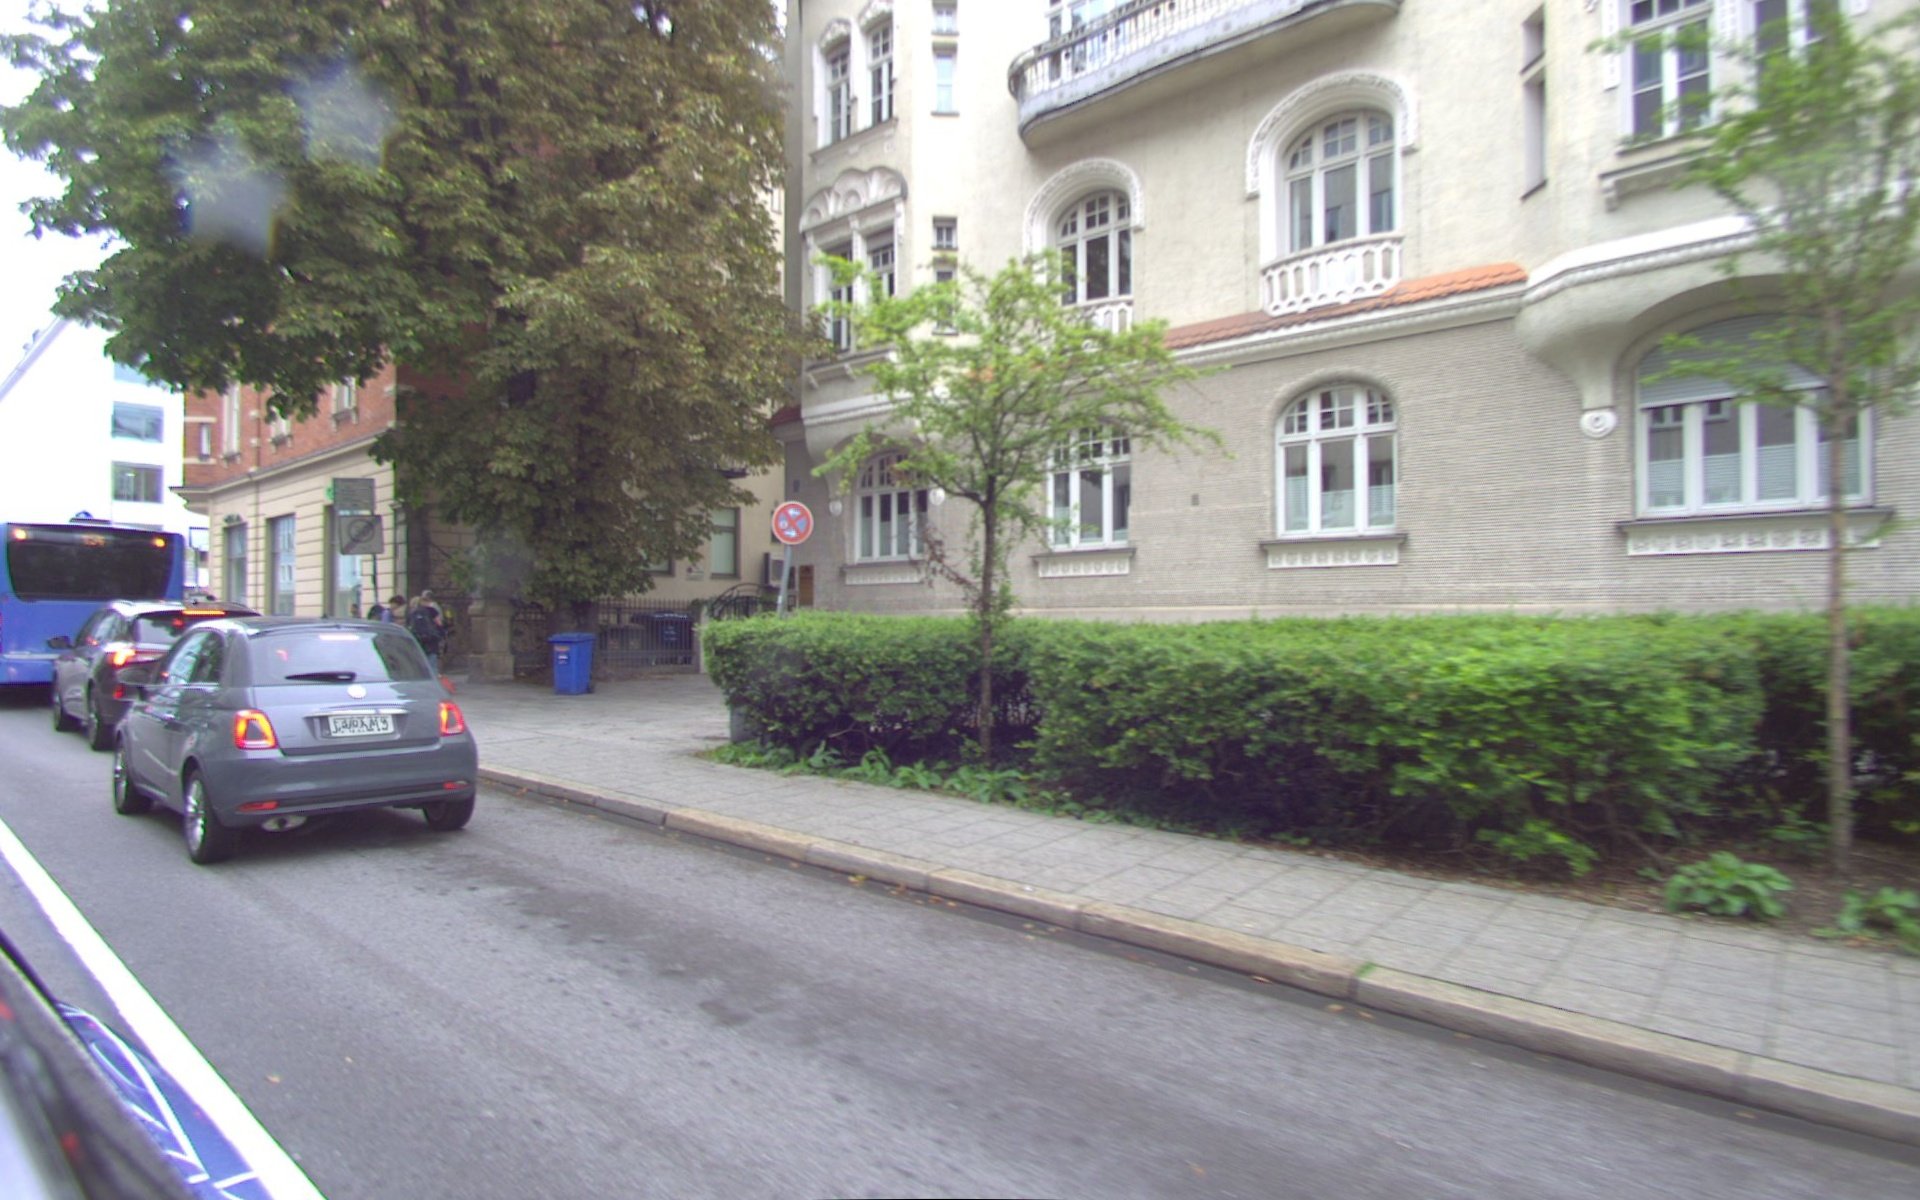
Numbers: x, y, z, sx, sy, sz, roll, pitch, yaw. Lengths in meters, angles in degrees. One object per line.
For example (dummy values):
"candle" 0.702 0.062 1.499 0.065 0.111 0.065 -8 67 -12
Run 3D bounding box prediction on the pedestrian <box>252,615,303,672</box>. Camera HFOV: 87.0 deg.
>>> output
"pedestrian" -16.643 1.049 24.674 0.753 1.351 0.820 -1 -2 39

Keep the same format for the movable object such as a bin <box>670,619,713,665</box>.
"movable object such as a bin" -7.256 1.128 27.369 0.844 1.221 0.814 0 -1 -45

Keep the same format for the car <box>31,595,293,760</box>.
"car" -9.784 0.828 12.289 4.272 1.657 1.749 -1 -2 42

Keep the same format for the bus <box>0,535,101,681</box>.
"bus" -23.632 0.231 24.954 9.106 3.124 2.552 -1 -2 42

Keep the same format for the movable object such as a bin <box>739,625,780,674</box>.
"movable object such as a bin" -4.666 1.131 23.548 0.614 1.094 0.814 0 -1 -44

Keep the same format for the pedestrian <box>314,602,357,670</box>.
"pedestrian" -14.546 0.824 23.561 0.753 1.550 0.618 -1 -2 39

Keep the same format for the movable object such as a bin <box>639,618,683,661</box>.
"movable object such as a bin" -7.895 1.030 26.731 0.844 1.100 0.814 0 -1 -45

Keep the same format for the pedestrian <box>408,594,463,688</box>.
"pedestrian" -9.992 0.770 19.306 0.773 1.758 0.878 1 -1 -17

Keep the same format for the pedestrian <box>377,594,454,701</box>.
"pedestrian" -9.287 0.794 17.252 0.846 1.758 0.898 -1 -2 41

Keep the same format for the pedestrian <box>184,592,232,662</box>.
"pedestrian" -22.284 0.789 30.001 0.769 2.029 0.831 0 -1 -1

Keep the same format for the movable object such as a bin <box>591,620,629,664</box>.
"movable object such as a bin" -8.872 1.046 25.641 0.614 1.094 0.814 0 -1 -44

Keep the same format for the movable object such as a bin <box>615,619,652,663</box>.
"movable object such as a bin" -8.437 1.055 26.113 0.614 1.094 0.814 0 -1 -44

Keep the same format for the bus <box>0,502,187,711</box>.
"bus" -17.012 0.179 18.871 8.921 3.124 2.552 -1 -2 42

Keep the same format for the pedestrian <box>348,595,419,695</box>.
"pedestrian" -10.533 0.800 18.483 0.910 1.758 0.864 -1 -2 41

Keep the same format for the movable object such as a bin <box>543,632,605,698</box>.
"movable object such as a bin" -6.763 1.127 17.732 0.622 1.094 0.804 -1 -1 32

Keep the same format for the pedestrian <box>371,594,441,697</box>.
"pedestrian" -9.821 0.787 17.947 0.786 1.758 0.864 -1 -2 41

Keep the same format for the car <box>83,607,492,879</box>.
"car" -5.065 0.829 7.424 3.781 1.490 1.567 -1 -2 42
